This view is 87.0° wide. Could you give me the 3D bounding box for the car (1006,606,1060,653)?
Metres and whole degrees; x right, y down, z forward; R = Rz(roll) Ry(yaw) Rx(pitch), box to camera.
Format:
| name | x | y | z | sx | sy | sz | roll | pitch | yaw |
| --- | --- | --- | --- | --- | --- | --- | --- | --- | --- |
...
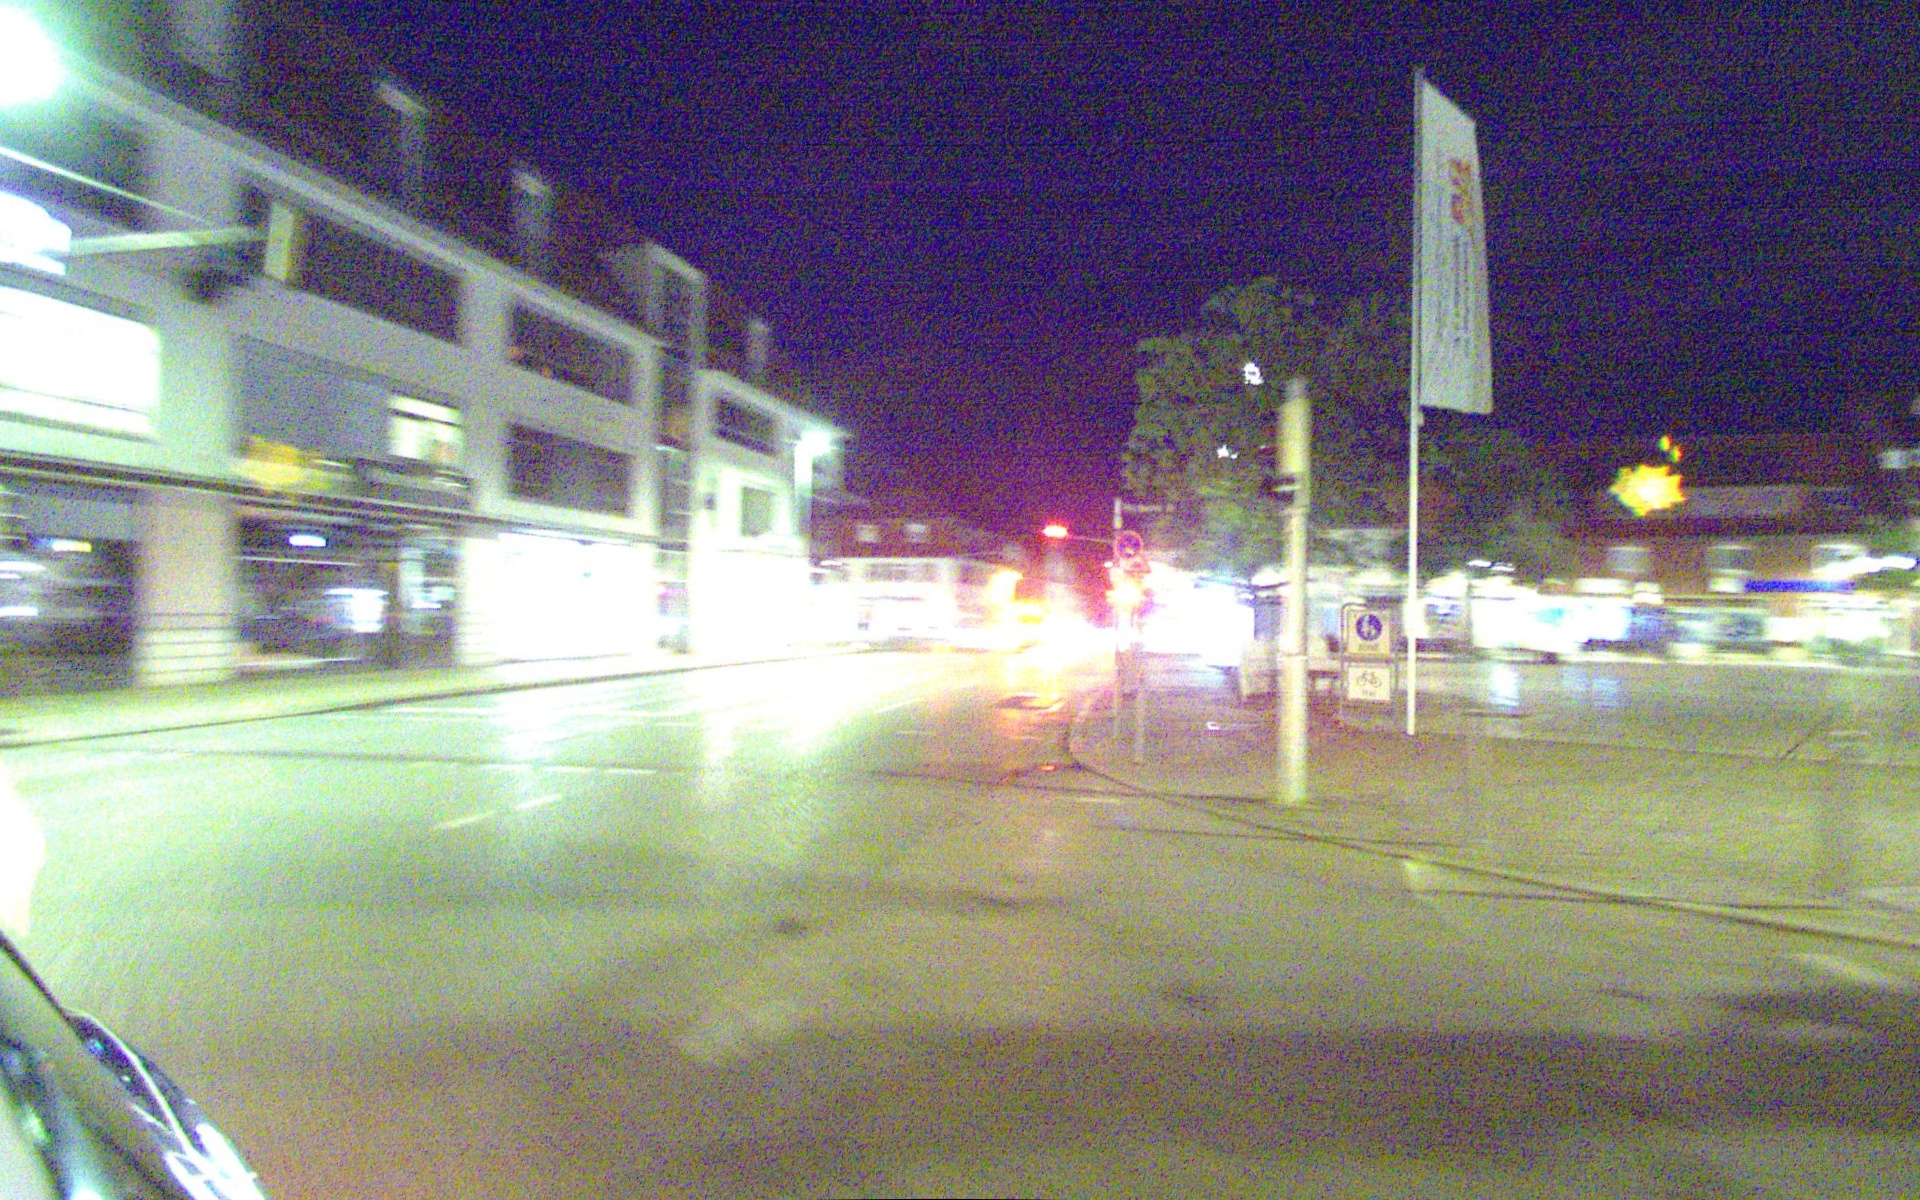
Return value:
| name | x | y | z | sx | sy | sz | roll | pitch | yaw |
| --- | --- | --- | --- | --- | --- | --- | --- | --- | --- |
| car | 3.311 | 1.300 | 45.011 | 1.939 | 1.952 | 4.403 | -1 | -2 | 10 |
